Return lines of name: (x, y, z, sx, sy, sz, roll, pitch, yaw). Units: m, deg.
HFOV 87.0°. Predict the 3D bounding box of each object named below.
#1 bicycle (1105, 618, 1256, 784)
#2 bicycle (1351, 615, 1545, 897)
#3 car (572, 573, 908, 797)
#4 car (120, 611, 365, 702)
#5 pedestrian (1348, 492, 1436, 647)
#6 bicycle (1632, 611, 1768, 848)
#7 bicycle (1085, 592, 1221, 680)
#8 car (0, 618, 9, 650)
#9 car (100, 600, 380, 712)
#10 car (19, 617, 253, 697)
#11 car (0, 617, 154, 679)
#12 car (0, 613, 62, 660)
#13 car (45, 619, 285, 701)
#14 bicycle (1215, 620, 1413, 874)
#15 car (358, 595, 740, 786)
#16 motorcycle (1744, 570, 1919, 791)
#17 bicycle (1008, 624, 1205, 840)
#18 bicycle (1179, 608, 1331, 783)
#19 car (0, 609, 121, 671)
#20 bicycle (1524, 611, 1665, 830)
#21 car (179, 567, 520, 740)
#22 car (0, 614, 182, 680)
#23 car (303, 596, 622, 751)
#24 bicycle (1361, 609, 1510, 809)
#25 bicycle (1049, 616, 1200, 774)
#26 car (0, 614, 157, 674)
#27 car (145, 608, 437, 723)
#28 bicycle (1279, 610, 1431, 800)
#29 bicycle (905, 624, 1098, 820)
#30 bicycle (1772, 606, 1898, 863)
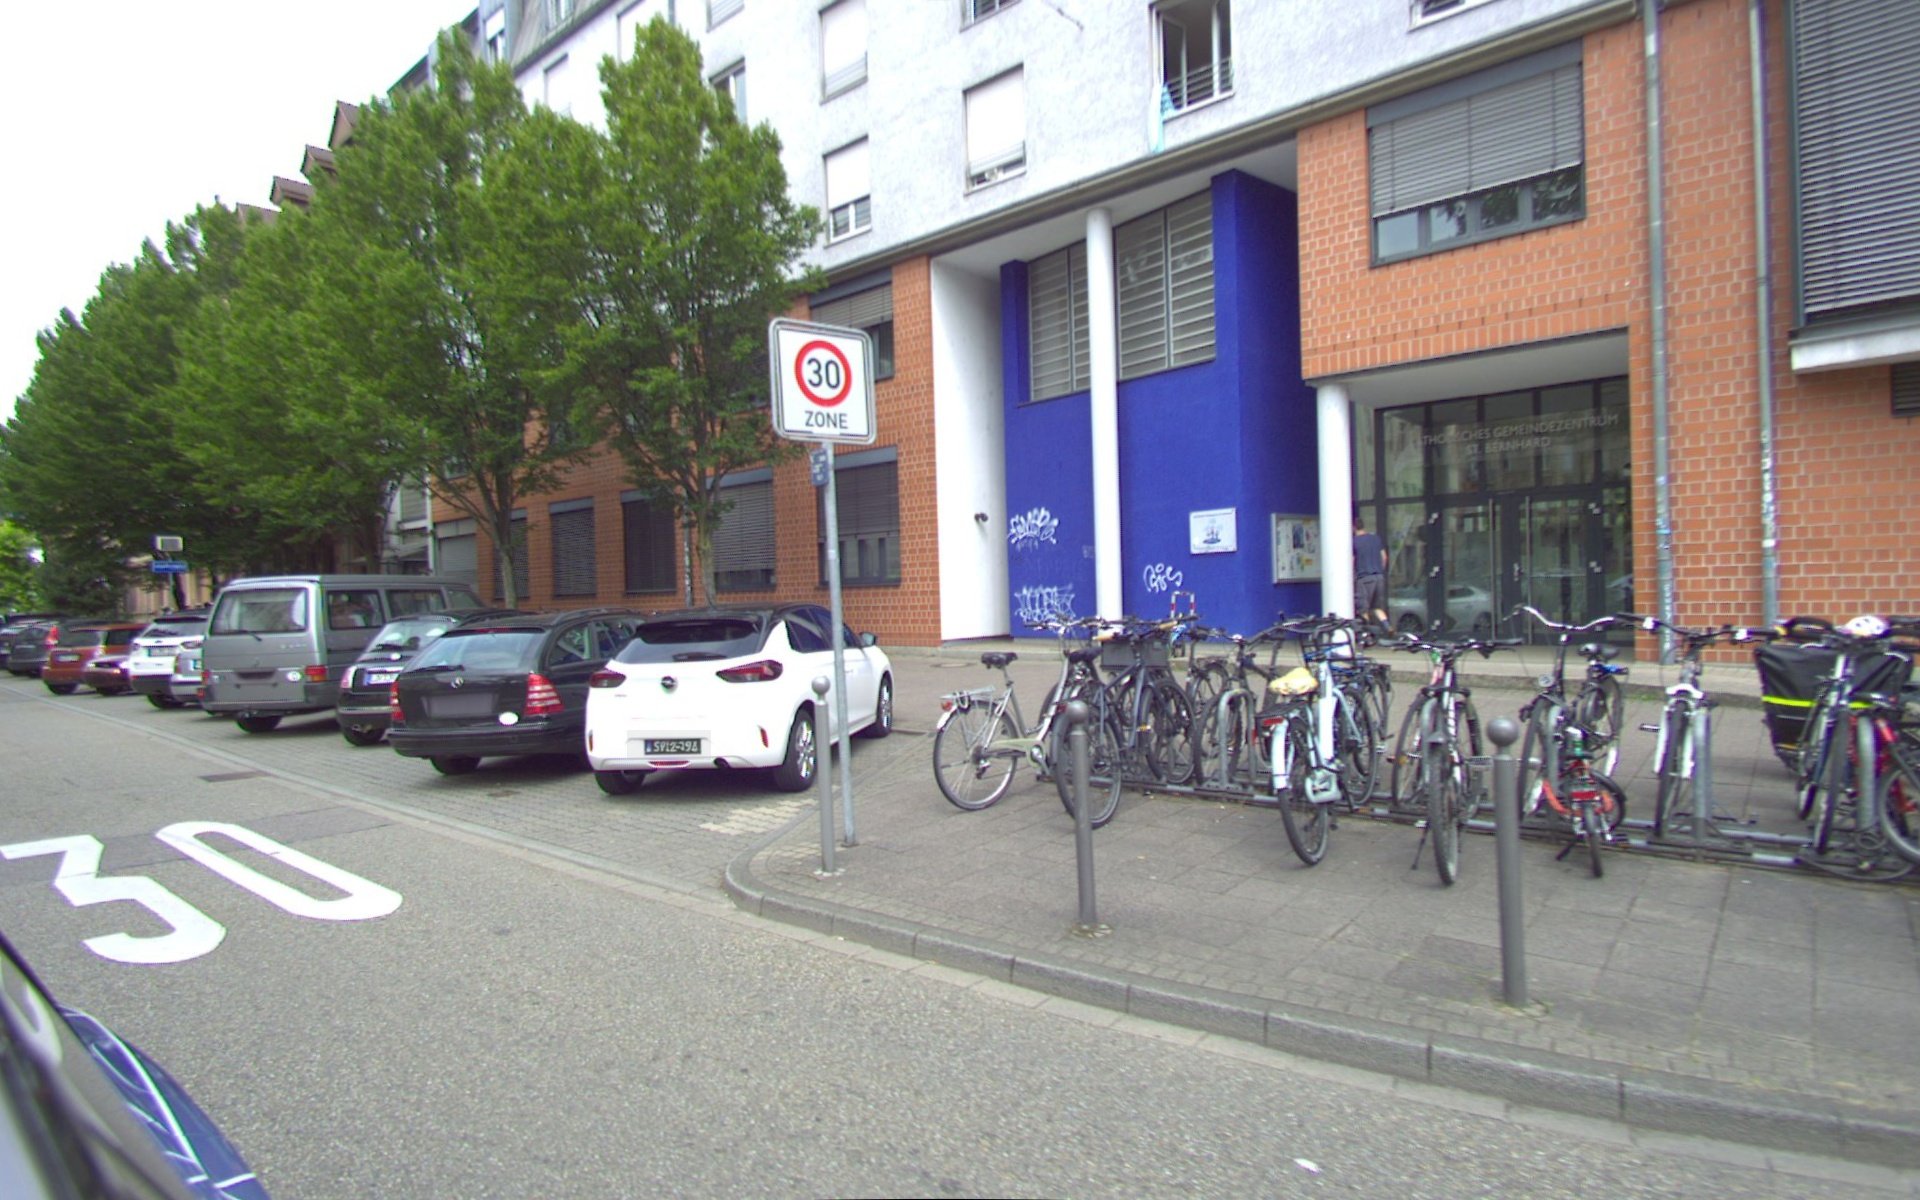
bicycle: (1.637, 0.686, 7.384, 0.402, 1.034, 1.391, -1, 1, 43)
bicycle: (2.343, 0.650, 4.782, 0.402, 1.046, 1.391, -1, 3, 43)
car: (-1.685, 0.586, 9.151, 1.584, 1.557, 3.994, -2, 1, 9)
car: (-14.129, 1.054, 20.251, 1.738, 1.488, 3.997, -2, 0, 7)
pedestrian: (5.875, -0.407, 13.780, 0.718, 2.029, 0.785, -1, 0, -30)
bicycle: (3.924, 0.610, 5.334, 0.402, 1.034, 1.391, -1, 1, 43)
bicycle: (2.627, 0.463, 13.734, 1.591, 0.932, 0.933, -9, 5, -37)
car: (-54.392, 1.960, 54.809, 1.671, 1.769, 3.997, -2, 0, 7)
car: (-12.345, 0.879, 17.708, 1.692, 1.627, 3.997, -2, 0, 7)
car: (-18.268, 1.198, 22.704, 1.671, 1.464, 3.997, -2, 0, 7)
car: (-26.362, 1.375, 29.833, 1.671, 1.579, 3.997, -2, 0, 7)
car: (-40.794, 1.577, 42.867, 1.671, 1.871, 3.997, -2, 0, 7)
car: (-16.532, 1.194, 21.329, 1.577, 1.400, 3.997, -2, 0, 7)
bicycle: (1.859, 0.676, 5.203, 0.402, 1.034, 1.391, -1, 3, 43)
car: (-3.799, 0.735, 10.298, 1.697, 1.480, 4.307, -2, 1, 7)
motorcycle: (5.494, 0.428, 5.587, 1.779, 1.181, 0.577, -2, 2, 43)
bicycle: (0.912, 0.723, 6.052, 0.402, 1.034, 1.391, -1, 3, 43)
bicycle: (2.065, 0.605, 6.978, 0.402, 1.034, 1.391, -1, 1, 43)
car: (-30.962, 1.330, 34.131, 1.671, 1.871, 4.036, -2, 0, 7)
bicycle: (3.601, 0.611, 5.703, 0.402, 1.034, 1.391, -1, 1, 43)
car: (-8.183, 0.589, 14.075, 1.841, 2.012, 3.994, -2, 2, 10)
car: (-24.294, 1.262, 28.305, 1.671, 1.579, 3.997, -2, 0, 7)
car: (-6.003, 0.786, 12.821, 1.690, 1.522, 3.998, -2, 1, 7)
bicycle: (2.930, 0.604, 6.176, 0.402, 1.034, 1.391, -1, 1, 43)
bicycle: (1.278, 0.676, 7.696, 0.402, 1.034, 1.391, -1, 1, 43)
car: (-28.743, 1.394, 32.976, 1.671, 1.694, 3.997, -2, 0, 7)
car: (-10.289, 0.927, 15.971, 1.606, 1.457, 3.997, -2, 0, 7)
bicycle: (2.564, 0.615, 6.496, 0.402, 1.034, 1.391, -1, 1, 43)
bicycle: (0.308, 0.733, 6.588, 0.402, 1.034, 1.391, -1, 3, 43)
bicycle: (4.311, 0.581, 4.963, 0.402, 1.034, 1.391, -1, 1, 43)
